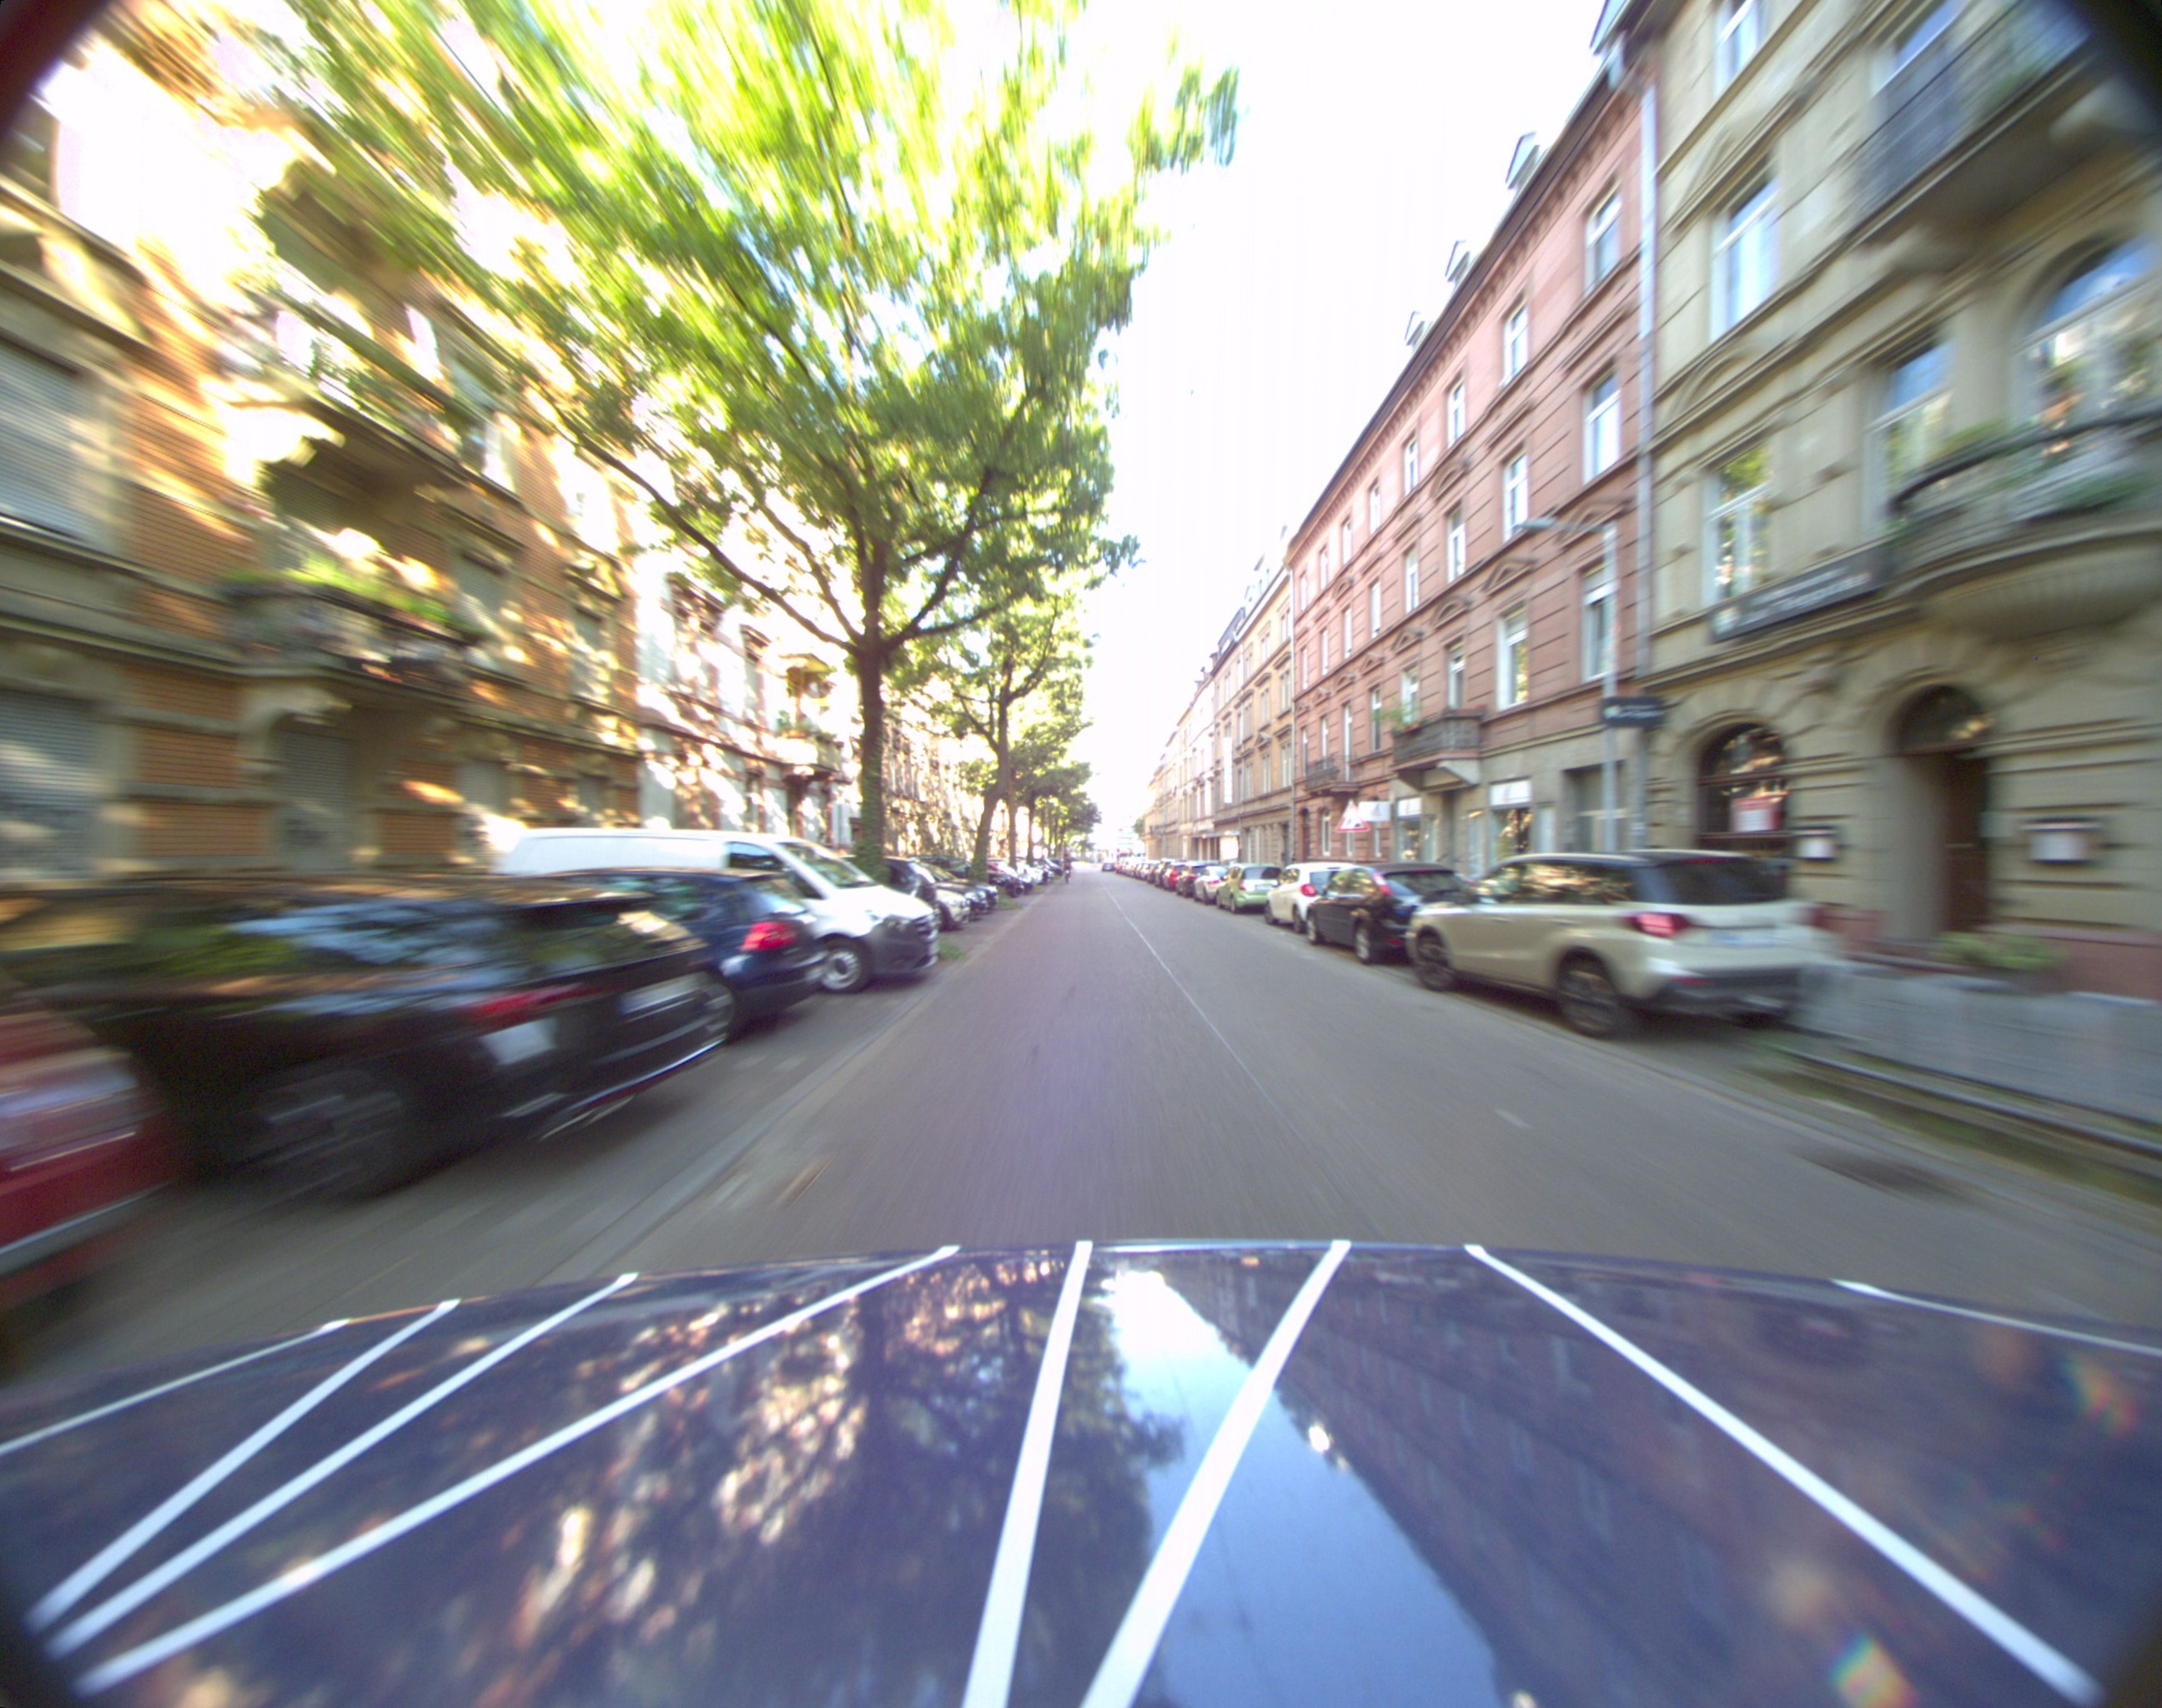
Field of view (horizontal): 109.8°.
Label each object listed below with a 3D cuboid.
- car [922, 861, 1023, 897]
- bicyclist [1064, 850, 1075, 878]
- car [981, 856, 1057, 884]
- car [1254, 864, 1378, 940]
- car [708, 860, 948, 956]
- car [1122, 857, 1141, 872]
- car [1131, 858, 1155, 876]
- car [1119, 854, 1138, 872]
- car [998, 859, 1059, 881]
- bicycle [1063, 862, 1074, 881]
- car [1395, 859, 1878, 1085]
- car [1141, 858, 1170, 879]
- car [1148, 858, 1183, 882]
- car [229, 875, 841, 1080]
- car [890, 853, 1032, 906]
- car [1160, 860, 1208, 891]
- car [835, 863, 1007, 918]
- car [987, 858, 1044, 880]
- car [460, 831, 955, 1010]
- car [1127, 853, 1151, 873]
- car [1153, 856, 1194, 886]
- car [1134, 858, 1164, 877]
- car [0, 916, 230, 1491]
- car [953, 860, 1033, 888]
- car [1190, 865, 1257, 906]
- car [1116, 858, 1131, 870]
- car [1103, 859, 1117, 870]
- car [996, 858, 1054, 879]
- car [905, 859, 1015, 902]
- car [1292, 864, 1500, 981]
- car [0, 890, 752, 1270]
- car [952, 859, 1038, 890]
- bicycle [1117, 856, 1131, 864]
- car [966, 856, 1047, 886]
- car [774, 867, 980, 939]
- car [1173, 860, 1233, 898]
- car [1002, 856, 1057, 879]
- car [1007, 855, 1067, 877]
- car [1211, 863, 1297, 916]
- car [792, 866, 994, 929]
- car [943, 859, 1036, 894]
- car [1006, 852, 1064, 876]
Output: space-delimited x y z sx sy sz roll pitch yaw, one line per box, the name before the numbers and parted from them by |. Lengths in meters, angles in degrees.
car | -4.471 1.025 31.791 3.998 1.454 1.782 0 0 -3
bicyclist | -0.806 0.691 51.458 0.712 1.865 1.120 0 0 0
car | -3.773 0.980 46.998 4.486 1.647 1.891 -1 2 2
car | 5.185 0.994 17.312 1.586 1.464 4.000 0 0 0
car | -4.565 0.945 14.167 3.895 1.639 1.724 0 0 -2
car | 5.533 1.125 83.702 1.771 1.648 4.158 -1 0 0
car | 5.437 1.122 67.049 1.751 1.464 4.244 0 0 0
car | 5.558 1.011 89.875 1.947 2.045 4.745 -1 0 0
car | -3.555 1.080 51.679 3.997 1.448 1.687 -1 0 1
bicycle | -0.823 1.172 51.413 0.712 1.252 1.888 0 0 0
car | 4.968 0.881 7.645 1.652 1.565 4.048 -3 0 -4
car | 5.478 1.058 56.338 1.761 1.464 4.088 0 0 -1
car | 5.441 1.031 49.514 1.867 1.464 4.489 0 0 1
car | -4.367 0.961 6.704 4.000 1.466 1.781 1 0 -7
car | -4.088 0.866 26.514 4.658 1.692 1.881 1 0 -3
car | 5.222 1.062 39.041 1.825 1.417 4.313 -2 0 0
car | -4.594 1.034 22.308 4.563 1.520 2.000 0 0 2
car | -4.640 1.064 54.336 3.998 1.486 1.687 -1 0 -2
car | -4.351 0.719 9.601 5.104 1.929 2.157 0 4 1
car | 5.494 0.842 72.577 1.847 1.822 4.606 -1 0 -1
car | 5.245 0.934 43.553 1.825 1.591 4.313 -2 0 0
car | 5.400 1.090 60.950 1.891 1.435 4.542 -1 0 -1
car | -4.929 0.952 1.657 4.091 1.489 1.843 0 0 1
car | -4.761 1.067 41.554 4.110 1.461 1.801 -1 0 2
car | 5.101 1.083 27.619 1.709 1.315 4.101 0 0 1
car | 5.346 1.277 95.406 1.641 1.482 3.825 -1 0 0
car | 4.219 1.499 110.636 1.868 1.620 3.826 -1 0 2
car | -4.143 1.046 56.826 4.155 1.446 1.937 1 0 -1
car | -4.587 0.985 29.195 3.998 1.581 1.782 0 0 -3
car | 4.856 0.957 12.377 1.652 1.464 4.000 -3 0 0
car | -4.376 0.961 4.058 4.380 1.447 1.934 0 0 1
car | -4.325 1.024 38.884 4.234 1.527 1.801 -1 0 -3
bicycle | 6.164 0.808 109.095 2.043 1.092 0.587 -1 0 2
car | -4.274 0.967 44.080 4.487 1.647 1.891 -1 2 -1
car | -4.465 1.069 17.094 4.115 1.494 1.811 0 0 1
car | 5.121 1.013 32.495 1.825 1.468 4.423 -2 0 0
car | -3.994 1.037 59.545 4.135 1.778 1.945 0 0 2
car | -3.679 1.005 63.986 4.933 1.623 2.078 2 0 -3
car | 5.112 1.007 22.940 1.709 1.430 3.959 0 0 1
car | -4.698 1.077 19.463 4.671 1.494 1.932 0 0 0
car | -4.108 0.993 34.500 3.997 1.380 1.678 2 0 0
car | -4.009 0.862 67.006 4.933 1.890 2.175 2 0 -3
